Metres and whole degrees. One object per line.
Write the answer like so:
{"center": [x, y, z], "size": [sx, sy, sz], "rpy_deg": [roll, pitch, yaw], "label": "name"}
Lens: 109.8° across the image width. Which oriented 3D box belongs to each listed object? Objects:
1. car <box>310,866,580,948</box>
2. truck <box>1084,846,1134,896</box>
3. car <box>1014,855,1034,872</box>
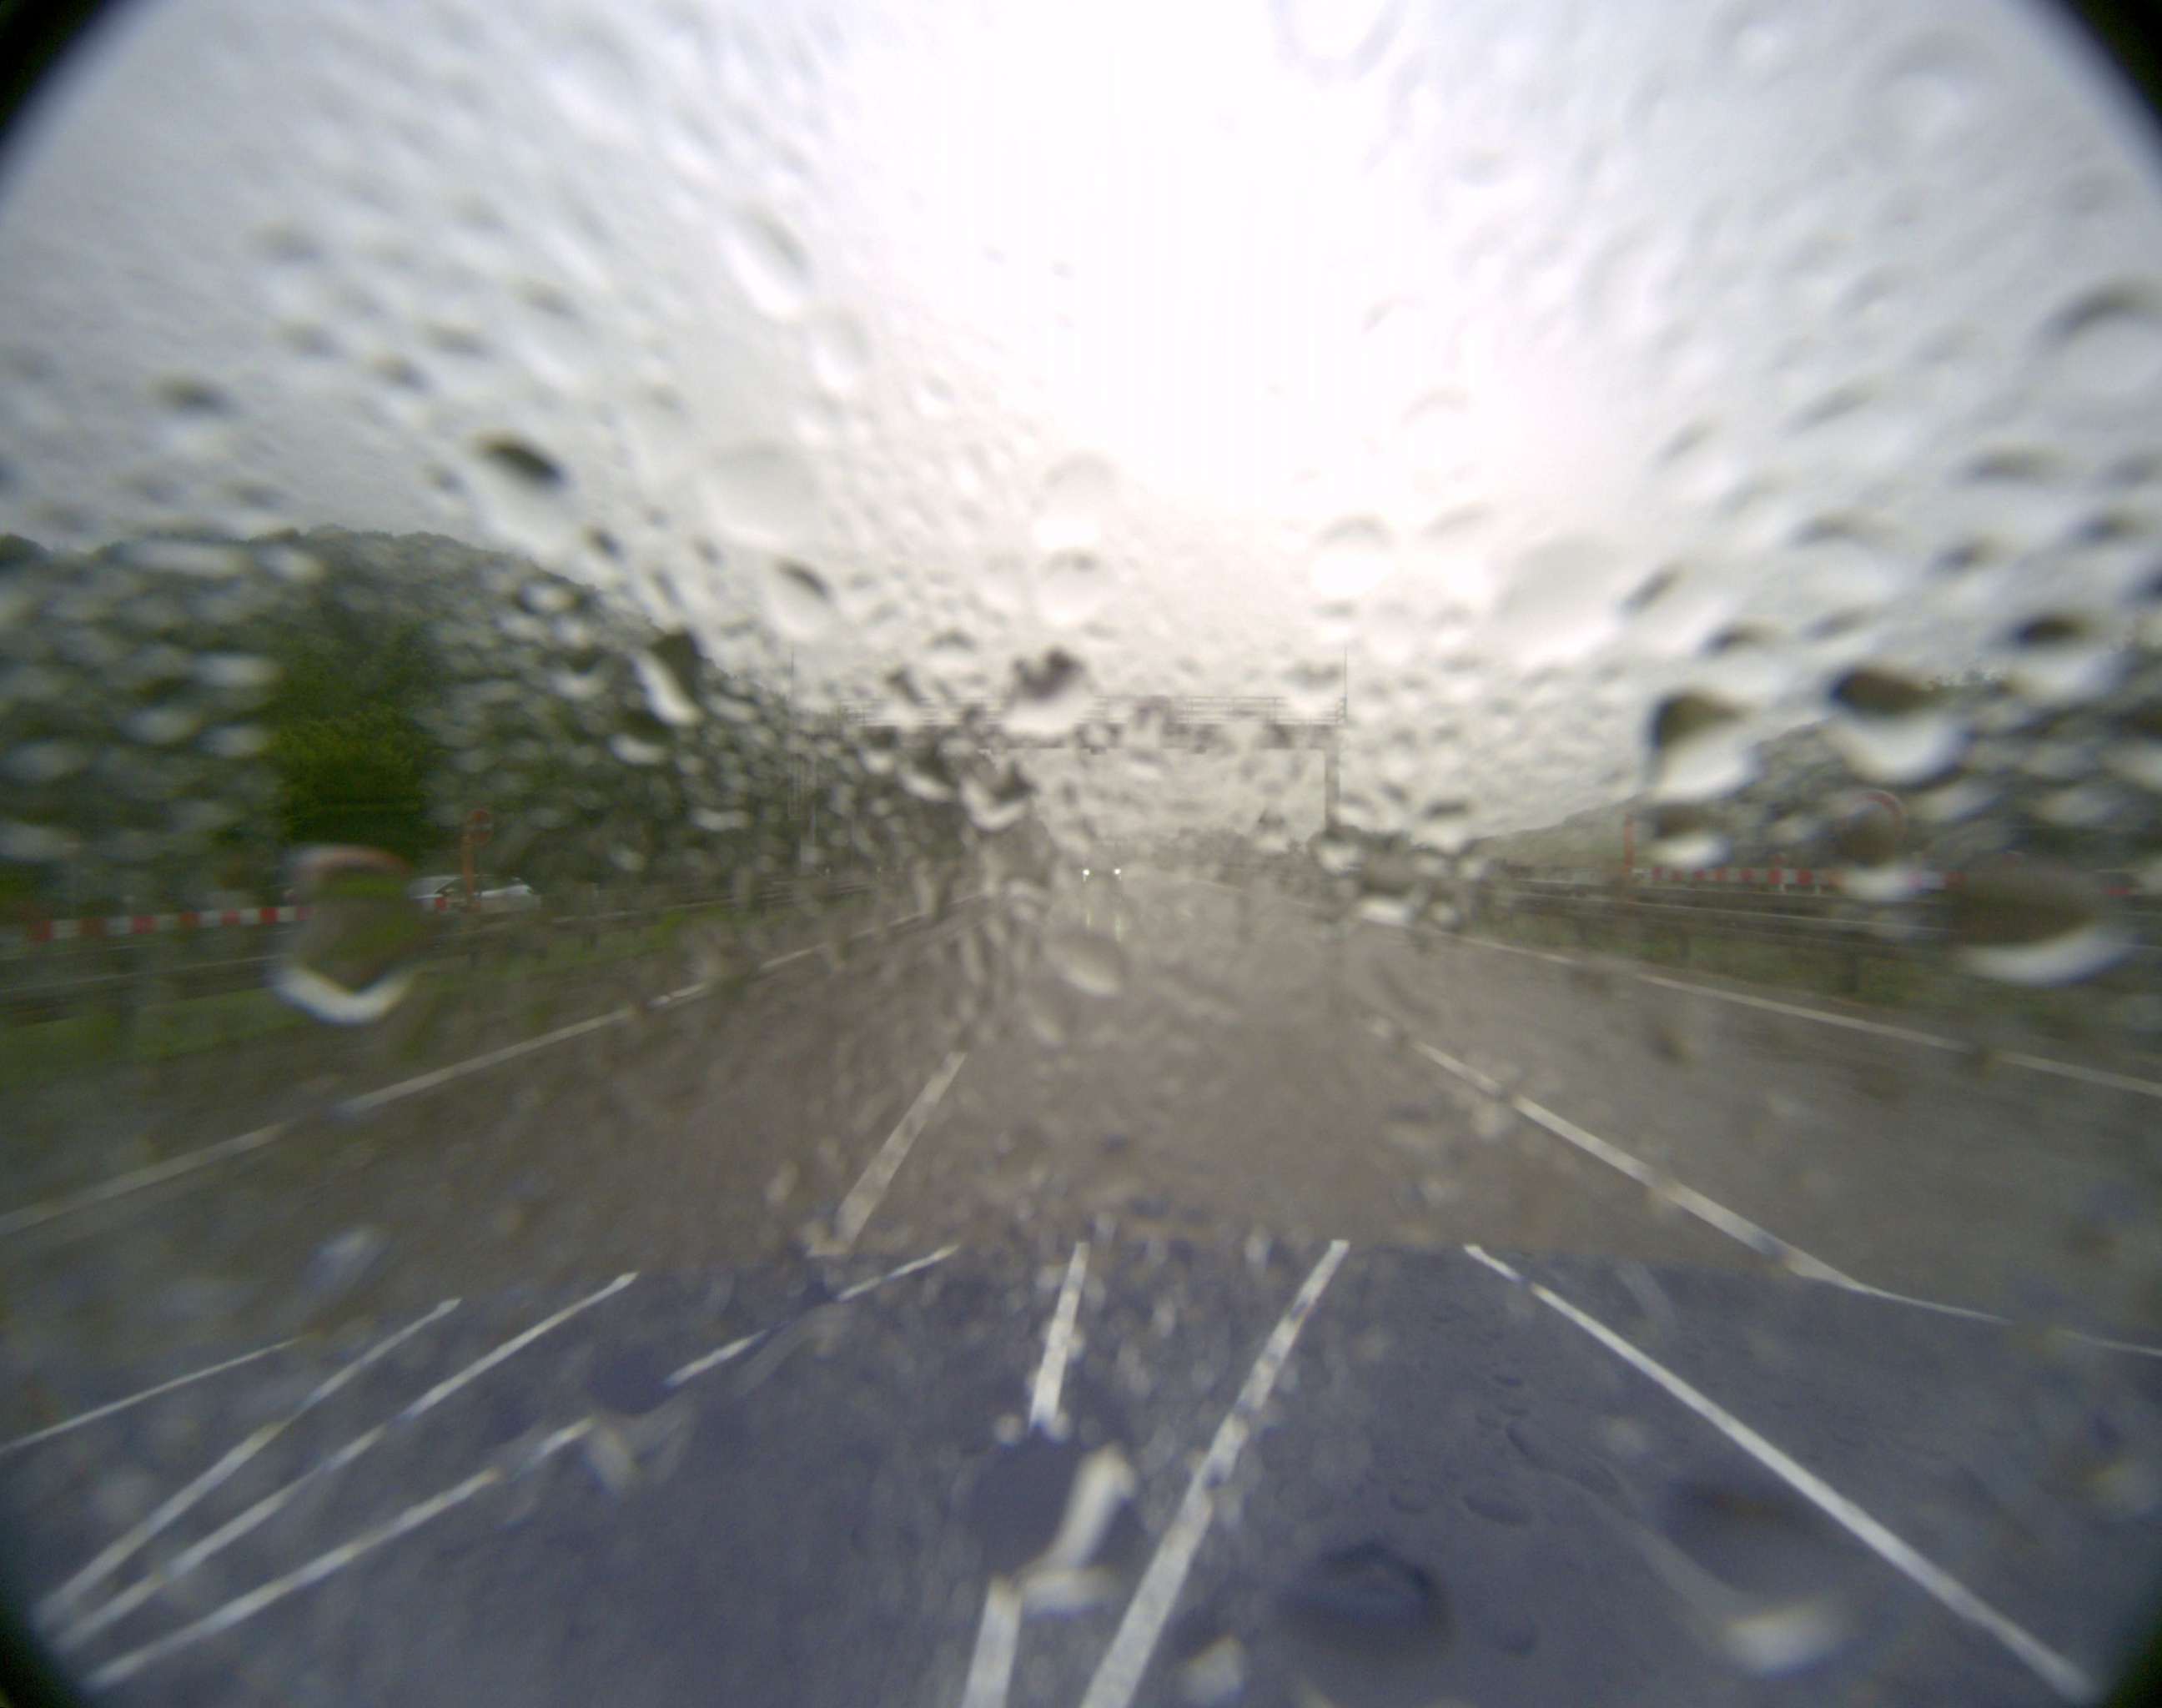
{"center": [-17.243, 1.344, 21.139], "size": [1.997, 1.740, 5.666], "rpy_deg": [-2, 1, 11], "label": "car"}
{"center": [1.167, 0.671, 34.326], "size": [1.998, 2.002, 7.575], "rpy_deg": [-1, 0, 1], "label": "truck"}
{"center": [-7.169, 1.147, 95.167], "size": [1.858, 2.002, 4.001], "rpy_deg": [-2, 0, 4], "label": "car"}
